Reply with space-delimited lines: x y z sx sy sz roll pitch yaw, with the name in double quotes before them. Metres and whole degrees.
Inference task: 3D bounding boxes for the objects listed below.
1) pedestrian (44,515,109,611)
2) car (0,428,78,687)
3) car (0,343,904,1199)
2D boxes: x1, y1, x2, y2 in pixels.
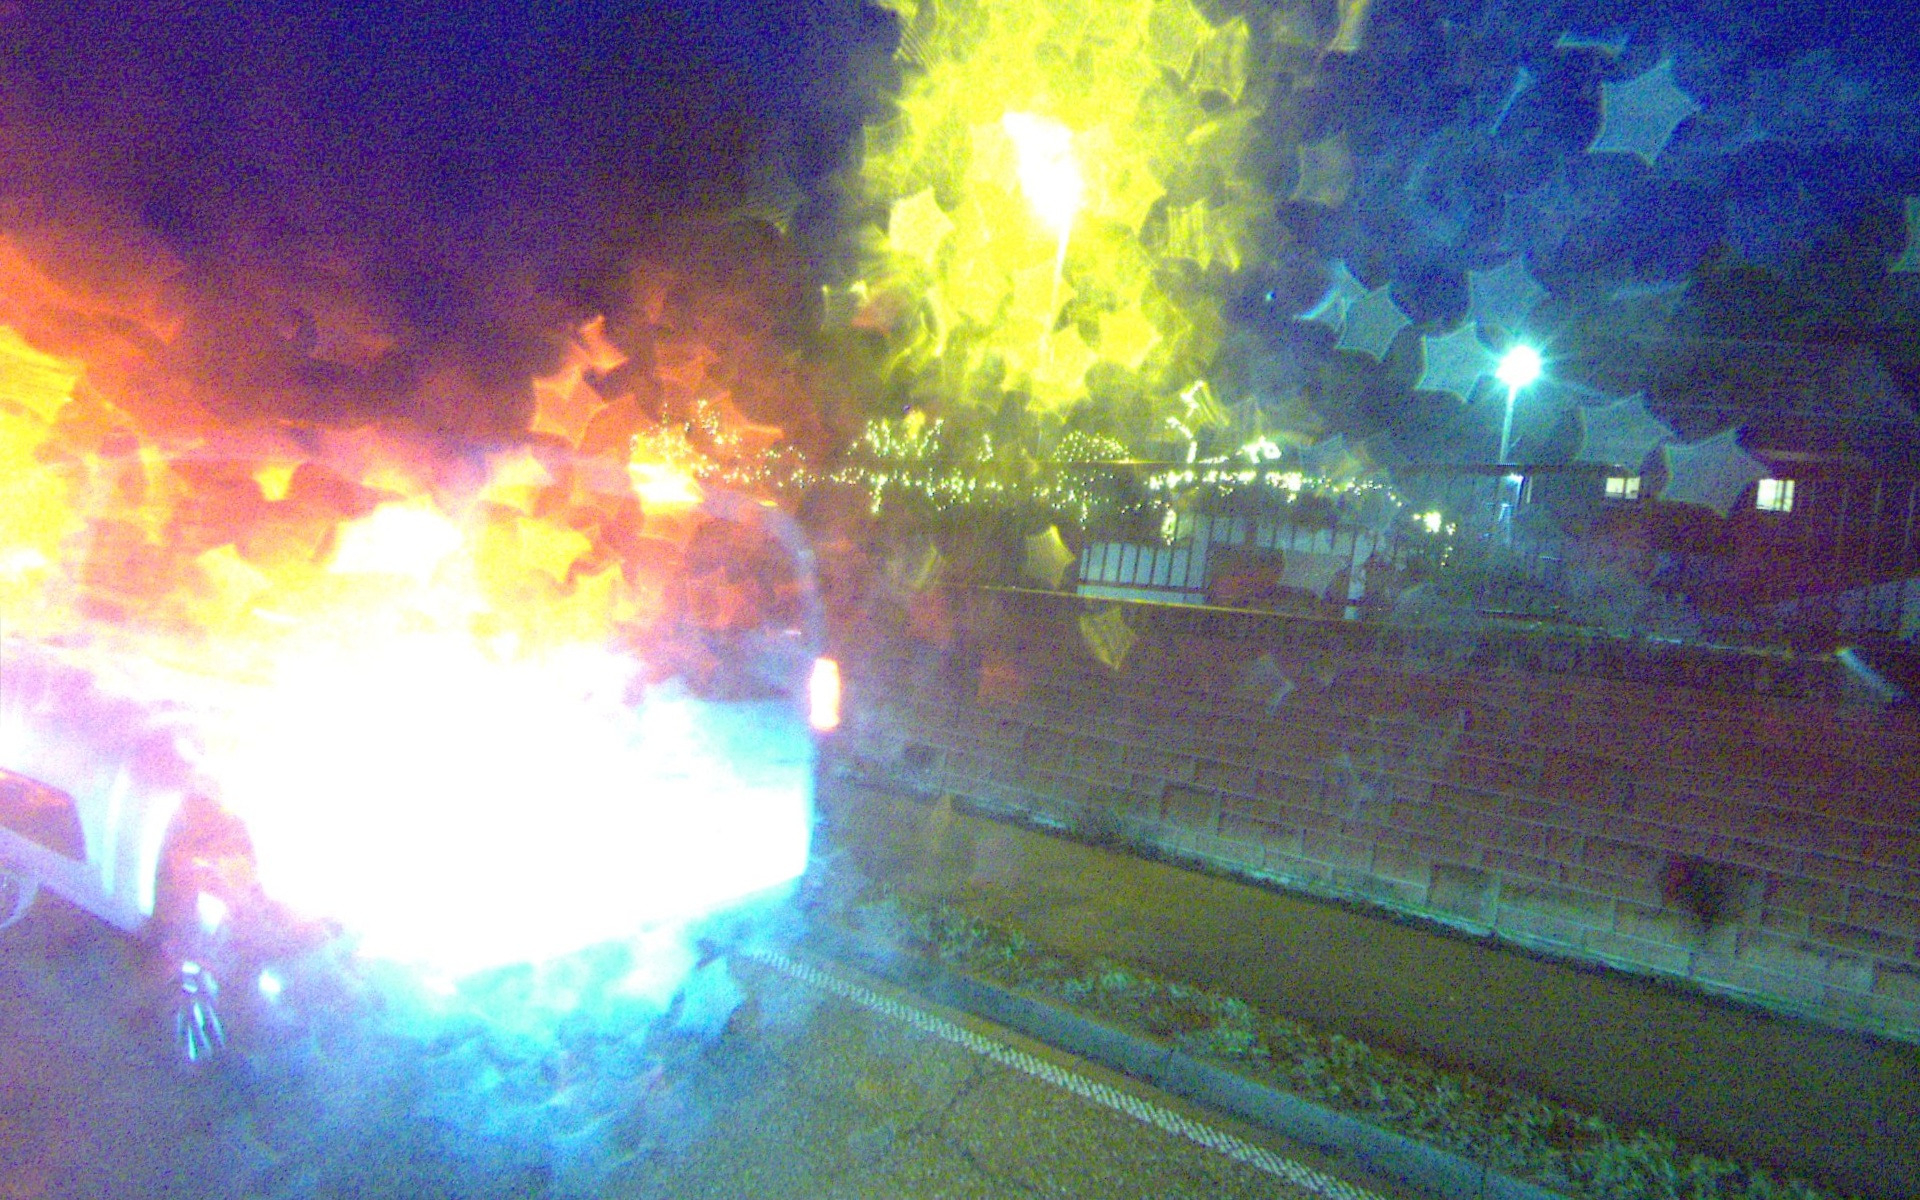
"pedestrian" -16.857 -0.694 19.207 0.532 1.721 0.624 7 -1 29
"car" -9.731 -0.579 8.663 3.934 2.070 1.972 6 -2 32
"car" -2.598 0.287 4.058 4.269 1.886 1.855 6 -2 32
